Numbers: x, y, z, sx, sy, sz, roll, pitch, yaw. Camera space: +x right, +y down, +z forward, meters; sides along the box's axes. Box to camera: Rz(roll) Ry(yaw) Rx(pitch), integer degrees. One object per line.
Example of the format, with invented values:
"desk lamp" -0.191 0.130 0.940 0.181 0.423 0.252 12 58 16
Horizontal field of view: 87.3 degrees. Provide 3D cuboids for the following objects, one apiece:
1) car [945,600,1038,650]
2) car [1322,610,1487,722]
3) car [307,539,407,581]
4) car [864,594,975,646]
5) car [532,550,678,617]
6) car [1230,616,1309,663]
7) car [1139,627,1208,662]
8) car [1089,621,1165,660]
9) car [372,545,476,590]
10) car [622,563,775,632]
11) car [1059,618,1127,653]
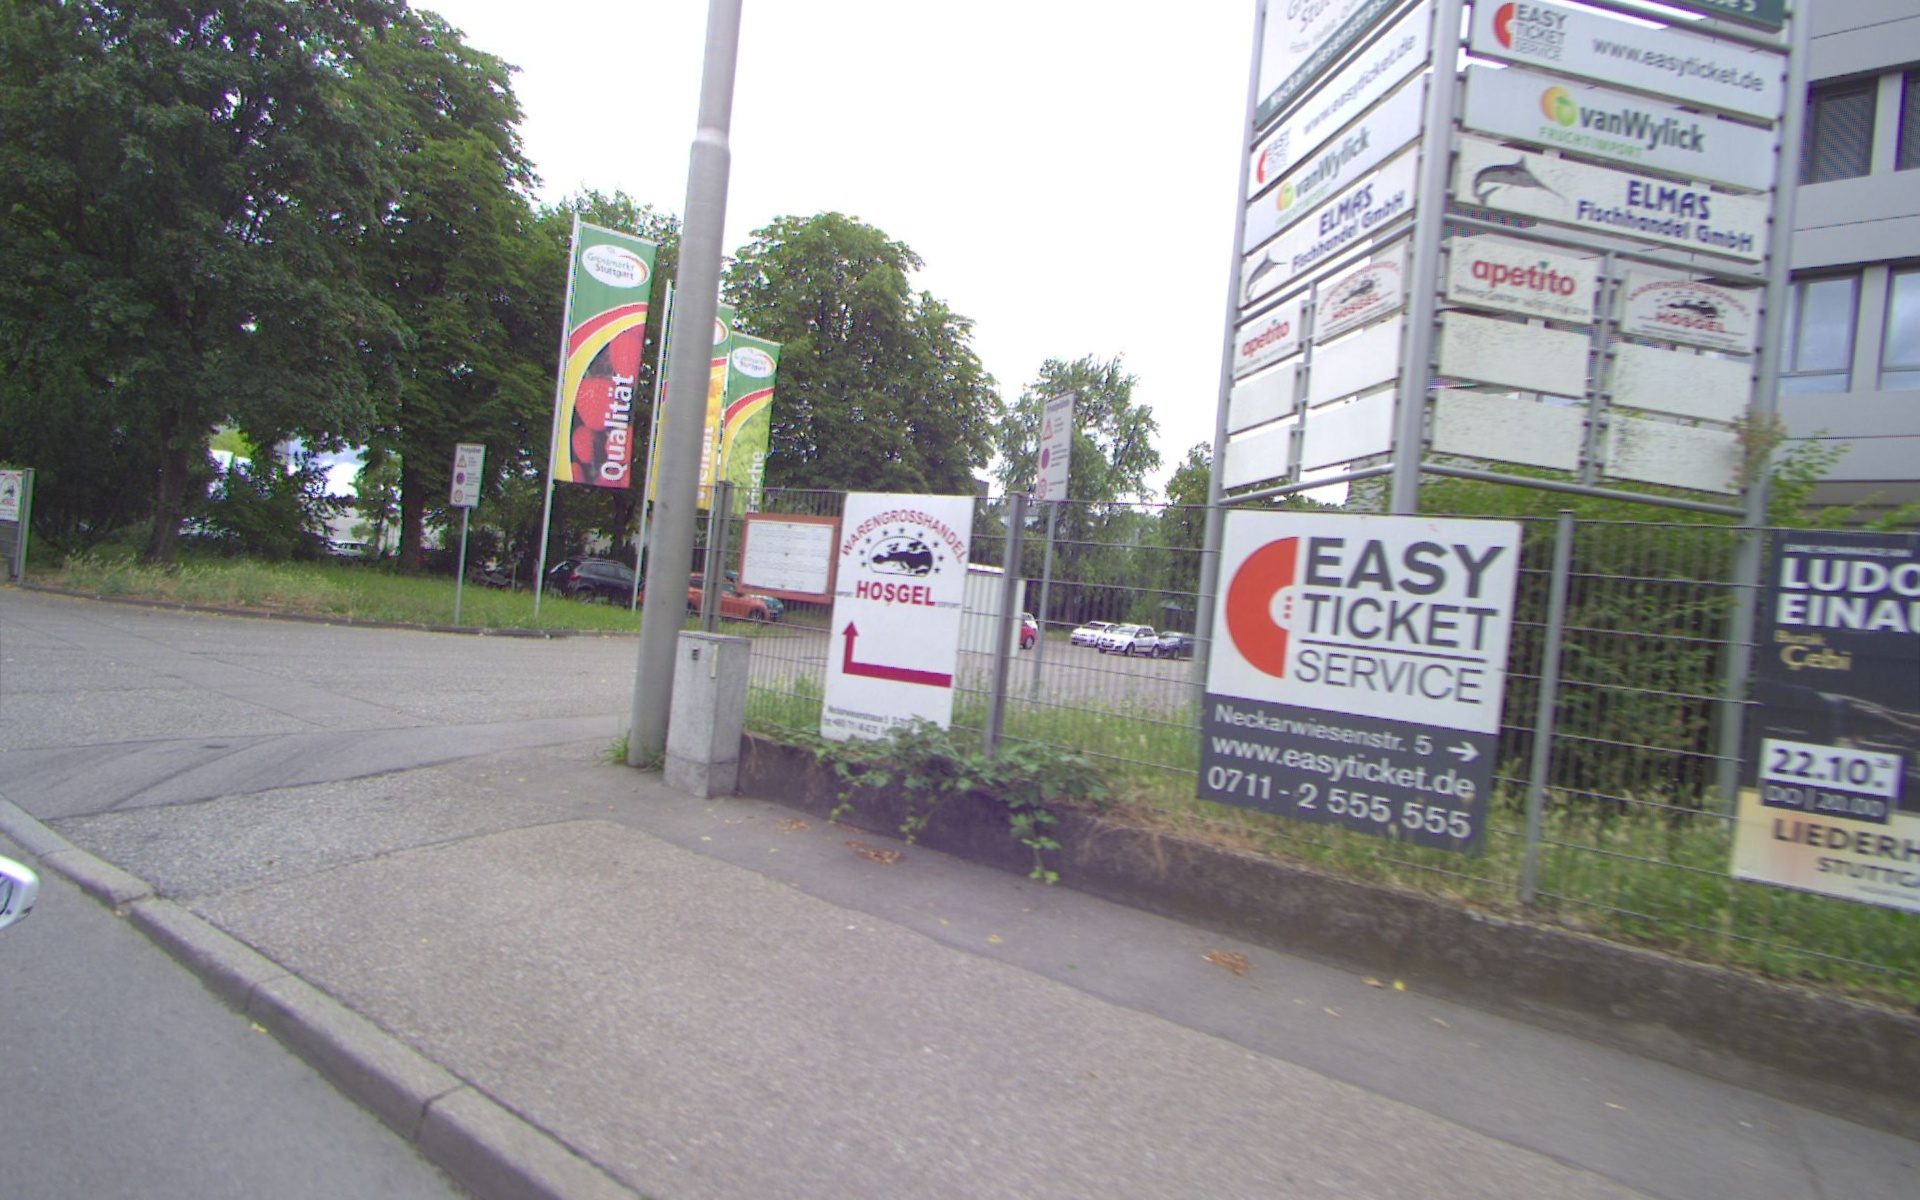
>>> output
"car" 1.371 1.076 41.964 1.802 1.705 3.944 6 0 38
"car" 8.295 1.235 18.598 1.830 1.694 3.698 6 0 38
"car" -31.215 -2.037 52.156 1.802 1.667 3.944 6 0 38
"car" -1.457 0.790 37.840 1.802 1.563 4.226 6 0 38
"car" -11.224 -0.501 32.028 1.802 1.667 3.944 6 0 38
"car" 19.609 2.553 63.536 2.366 2.438 6.653 6 0 38
"car" 11.481 2.403 53.866 1.803 1.563 4.225 6 0 38
"car" 8.385 2.033 50.181 1.803 1.563 4.225 6 0 38
"car" -25.596 -1.541 48.134 1.802 1.667 3.944 6 0 38
"car" -7.535 -0.038 29.257 1.802 1.553 3.944 6 0 38
"car" 7.587 2.031 56.970 1.803 1.563 4.225 6 0 38
